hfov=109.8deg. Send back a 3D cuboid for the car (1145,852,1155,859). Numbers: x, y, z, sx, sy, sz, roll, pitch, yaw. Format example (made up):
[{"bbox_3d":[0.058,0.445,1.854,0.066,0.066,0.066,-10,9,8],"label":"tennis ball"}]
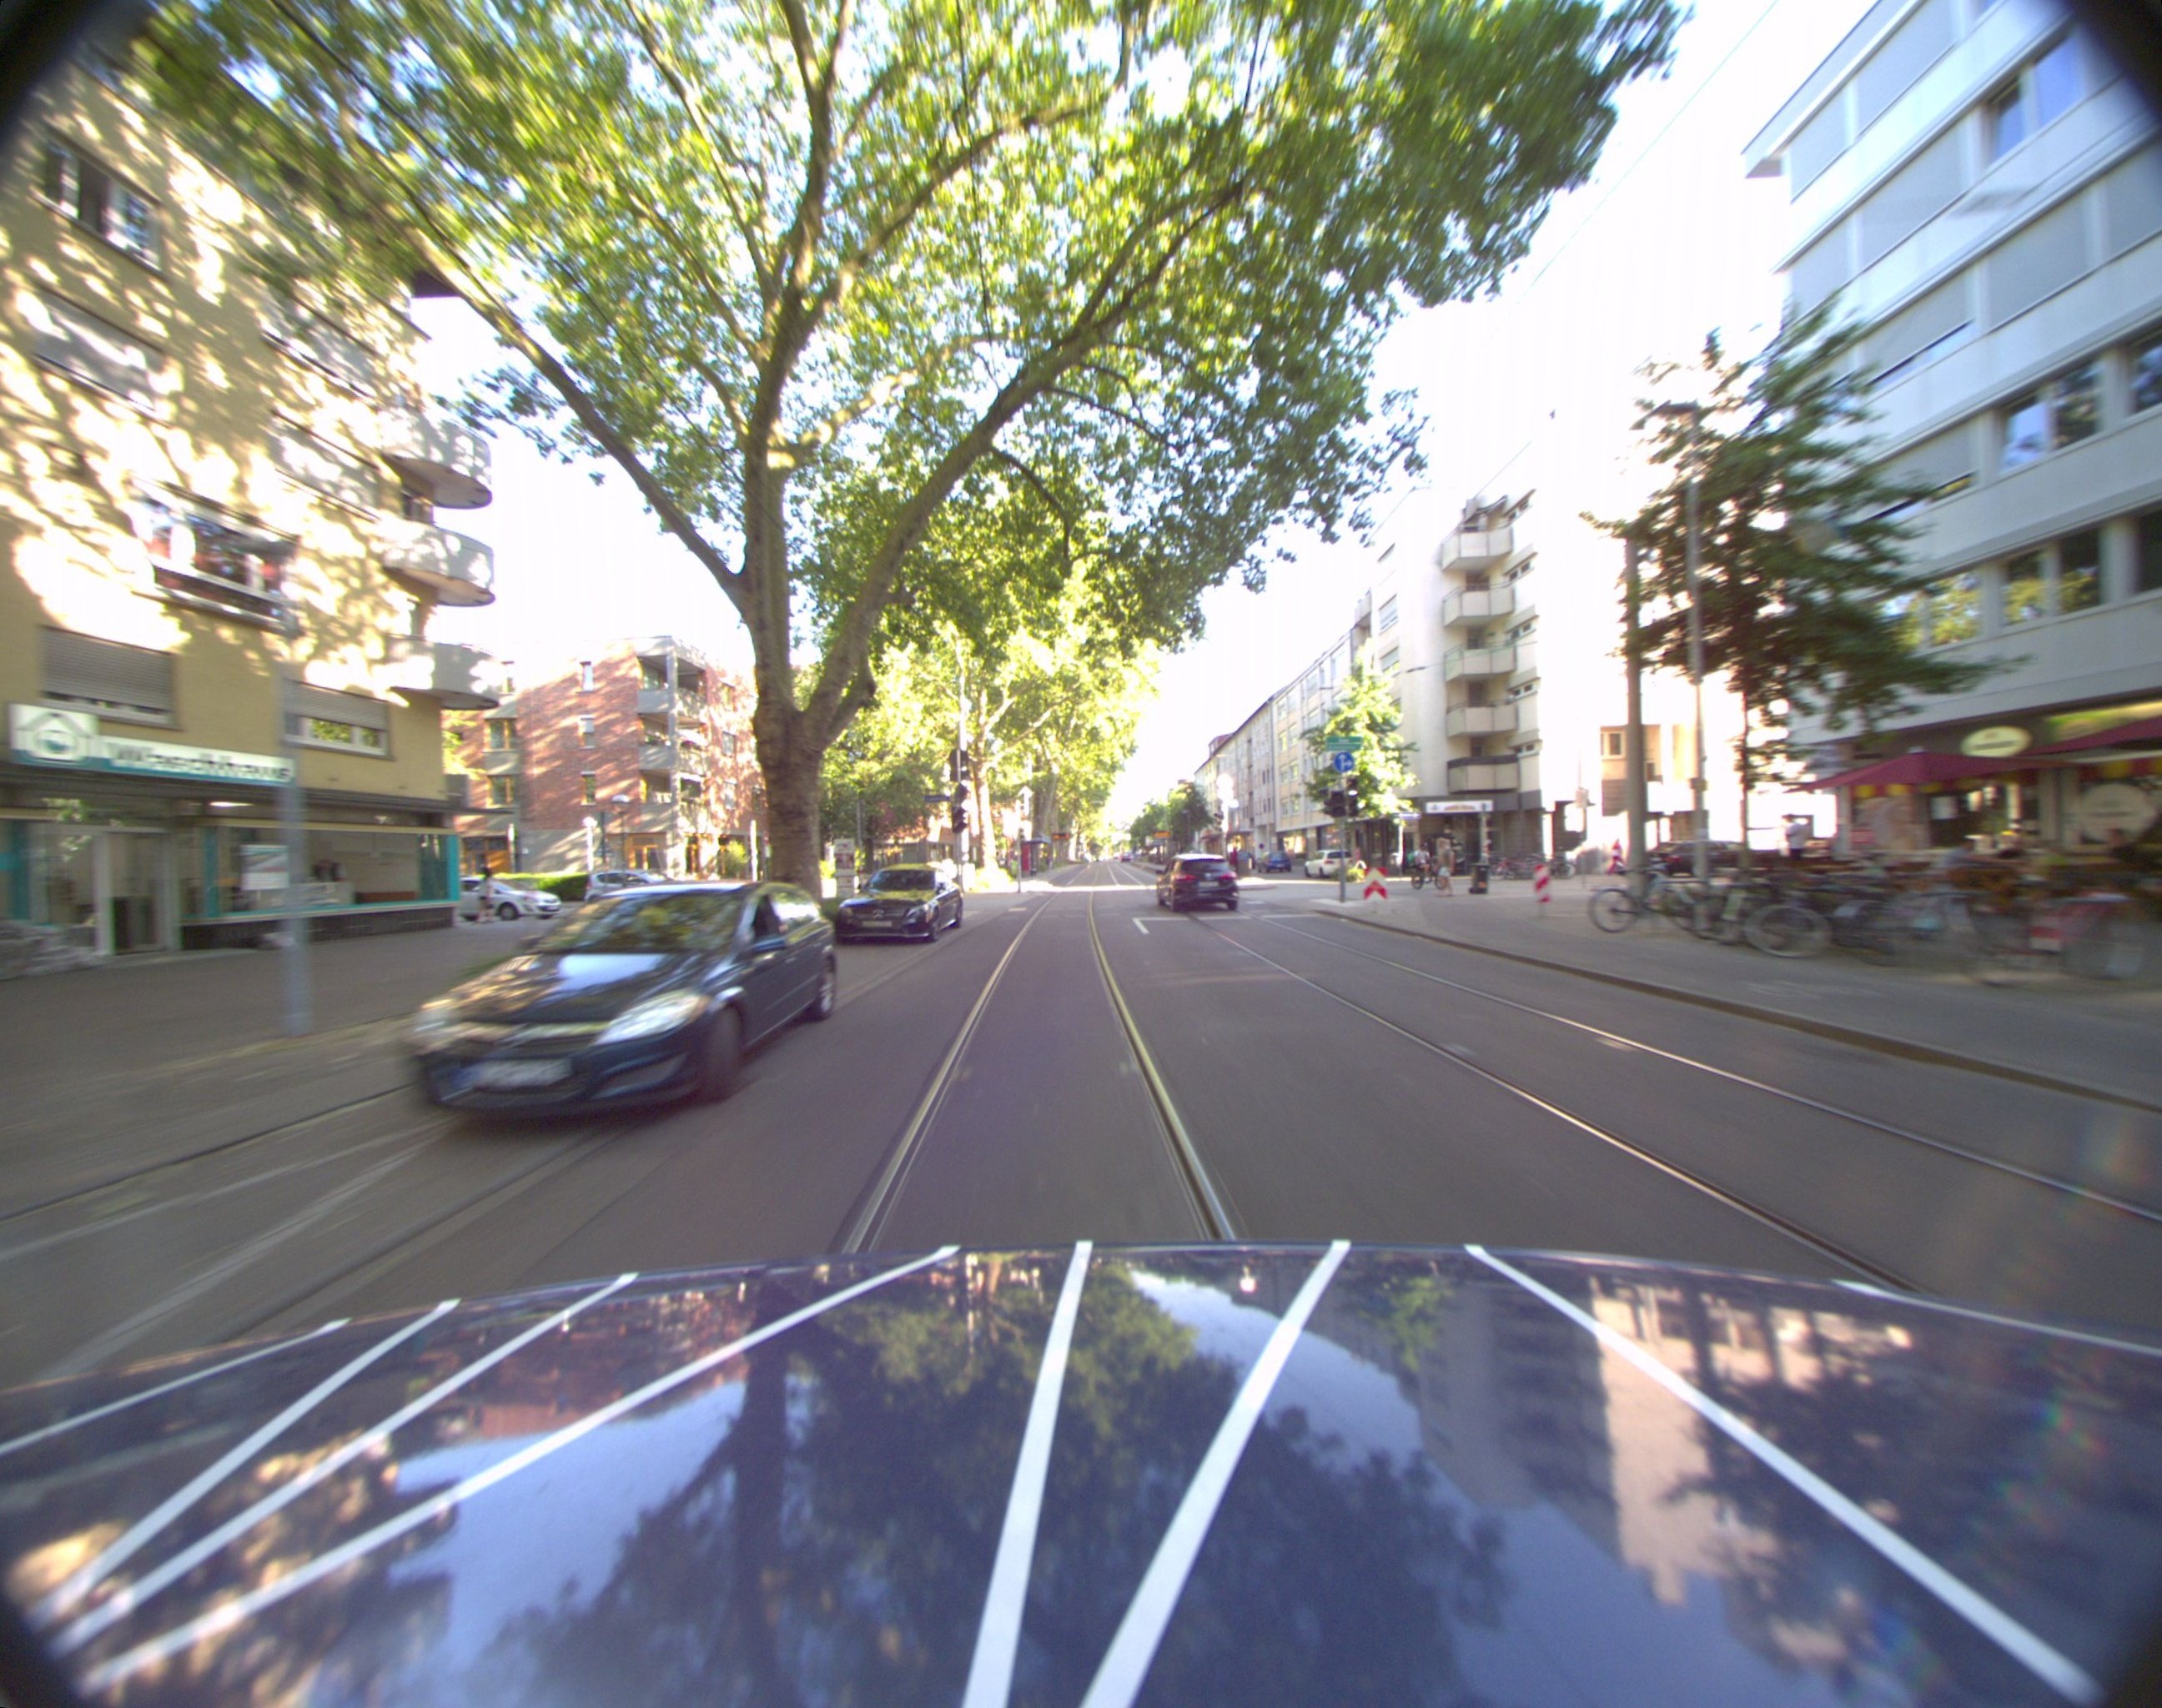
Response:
[{"bbox_3d":[14.649,0.327,161.730,1.998,1.521,3.679,-1,0,4],"label":"car"}]

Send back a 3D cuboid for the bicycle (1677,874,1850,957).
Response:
[{"bbox_3d":[9.398,0.824,10.492,1.834,1.001,0.658,-3,1,-3],"label":"bicycle"}]

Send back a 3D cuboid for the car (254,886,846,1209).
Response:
[{"bbox_3d":[-3.346,1.069,6.003,1.870,1.429,4.224,-1,0,-3],"label":"car"}]

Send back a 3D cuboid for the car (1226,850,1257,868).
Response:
[{"bbox_3d":[13.336,0.387,63.354,1.799,1.455,4.282,-1,0,2],"label":"car"}]

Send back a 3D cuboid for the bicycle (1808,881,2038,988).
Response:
[{"bbox_3d":[9.129,0.855,8.271,1.834,1.001,0.658,-3,1,-3],"label":"bicycle"}]

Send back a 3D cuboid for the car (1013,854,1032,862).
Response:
[{"bbox_3d":[-12.588,0.896,163.717,3.674,1.521,2.000,-1,0,3],"label":"car"}]

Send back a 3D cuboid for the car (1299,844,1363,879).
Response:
[{"bbox_3d":[13.063,0.377,40.017,1.882,1.641,4.358,-3,0,1],"label":"car"}]

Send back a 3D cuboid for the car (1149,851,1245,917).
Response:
[{"bbox_3d":[3.162,0.787,21.522,1.876,1.580,4.146,-3,0,-2],"label":"car"}]

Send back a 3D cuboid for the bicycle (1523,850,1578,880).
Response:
[{"bbox_3d":[18.801,0.457,30.443,1.786,1.150,0.573,-1,0,12],"label":"bicycle"}]

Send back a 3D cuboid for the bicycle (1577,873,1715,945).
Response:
[{"bbox_3d":[8.887,0.846,11.991,1.695,1.001,0.658,-3,1,-3],"label":"bicycle"}]

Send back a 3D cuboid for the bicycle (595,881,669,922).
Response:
[{"bbox_3d":[-13.489,1.413,22.889,1.799,1.150,0.744,0,1,-20],"label":"bicycle"}]

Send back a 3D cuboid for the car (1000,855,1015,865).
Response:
[{"bbox_3d":[-10.594,0.860,110.008,1.657,1.499,3.962,-1,0,2],"label":"car"}]

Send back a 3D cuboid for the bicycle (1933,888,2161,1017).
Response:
[{"bbox_3d":[8.961,0.864,6.930,1.695,1.001,0.658,-3,1,-3],"label":"bicycle"}]

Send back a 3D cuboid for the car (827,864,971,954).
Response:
[{"bbox_3d":[-3.581,1.009,15.934,1.769,1.454,5.012,-1,0,0],"label":"car"}]

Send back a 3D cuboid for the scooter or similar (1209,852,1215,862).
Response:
[{"bbox_3d":[15.035,0.359,87.346,0.446,1.167,1.274,-1,0,-4],"label":"scooter or similar"}]

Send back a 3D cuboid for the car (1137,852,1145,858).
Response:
[{"bbox_3d":[15.476,0.232,196.556,1.998,1.521,3.679,-1,0,4],"label":"car"}]

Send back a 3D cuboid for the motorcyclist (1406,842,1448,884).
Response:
[{"bbox_3d":[12.015,0.302,26.408,0.878,1.432,1.013,-2,1,-36],"label":"motorcyclist"}]

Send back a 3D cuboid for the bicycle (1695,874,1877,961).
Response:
[{"bbox_3d":[9.294,0.821,10.053,1.834,1.001,0.658,-3,1,-3],"label":"bicycle"}]

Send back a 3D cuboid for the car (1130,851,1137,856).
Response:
[{"bbox_3d":[17.183,-0.035,248.086,1.998,1.521,3.678,-1,0,1],"label":"car"}]

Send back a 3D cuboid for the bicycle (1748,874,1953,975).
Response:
[{"bbox_3d":[9.173,0.819,9.090,1.834,1.058,0.658,-3,1,-3],"label":"bicycle"}]

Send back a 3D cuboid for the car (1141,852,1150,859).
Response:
[{"bbox_3d":[15.040,0.335,177.408,1.998,1.521,3.679,-1,0,4],"label":"car"}]

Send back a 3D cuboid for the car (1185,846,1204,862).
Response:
[{"bbox_3d":[14.485,-0.011,96.985,1.808,1.923,4.049,-1,0,0],"label":"car"}]

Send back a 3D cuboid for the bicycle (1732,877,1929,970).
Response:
[{"bbox_3d":[9.245,0.836,9.408,1.834,1.001,0.658,-3,1,-3],"label":"bicycle"}]

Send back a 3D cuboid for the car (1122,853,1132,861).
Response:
[{"bbox_3d":[9.276,0.528,154.628,1.766,1.579,4.000,-1,0,0],"label":"car"}]

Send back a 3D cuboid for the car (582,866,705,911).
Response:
[{"bbox_3d":[-17.629,1.376,30.767,3.871,1.683,1.866,-1,0,1],"label":"car"}]

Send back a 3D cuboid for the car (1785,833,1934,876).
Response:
[{"bbox_3d":[29.791,0.026,29.177,3.779,1.495,1.805,-2,0,2],"label":"car"}]

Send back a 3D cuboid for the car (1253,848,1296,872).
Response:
[{"bbox_3d":[13.222,0.373,52.123,1.961,1.535,4.389,-1,0,2],"label":"car"}]

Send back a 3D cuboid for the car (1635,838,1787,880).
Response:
[{"bbox_3d":[24.426,0.183,29.590,4.290,1.495,1.895,-2,0,2],"label":"car"}]

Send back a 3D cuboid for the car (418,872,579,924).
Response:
[{"bbox_3d":[-19.009,1.434,24.915,3.871,1.542,1.867,-1,-2,1],"label":"car"}]

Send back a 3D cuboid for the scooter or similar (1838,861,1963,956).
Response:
[{"bbox_3d":[10.790,0.701,10.025,1.082,1.169,0.498,-3,1,0],"label":"scooter or similar"}]

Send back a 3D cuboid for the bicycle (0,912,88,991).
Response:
[{"bbox_3d":[-14.949,1.363,10.339,0.572,0.991,1.780,0,0,-3],"label":"bicycle"}]

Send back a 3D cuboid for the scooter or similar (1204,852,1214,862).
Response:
[{"bbox_3d":[14.933,0.362,88.667,0.447,1.167,1.272,-2,0,-35],"label":"scooter or similar"}]
